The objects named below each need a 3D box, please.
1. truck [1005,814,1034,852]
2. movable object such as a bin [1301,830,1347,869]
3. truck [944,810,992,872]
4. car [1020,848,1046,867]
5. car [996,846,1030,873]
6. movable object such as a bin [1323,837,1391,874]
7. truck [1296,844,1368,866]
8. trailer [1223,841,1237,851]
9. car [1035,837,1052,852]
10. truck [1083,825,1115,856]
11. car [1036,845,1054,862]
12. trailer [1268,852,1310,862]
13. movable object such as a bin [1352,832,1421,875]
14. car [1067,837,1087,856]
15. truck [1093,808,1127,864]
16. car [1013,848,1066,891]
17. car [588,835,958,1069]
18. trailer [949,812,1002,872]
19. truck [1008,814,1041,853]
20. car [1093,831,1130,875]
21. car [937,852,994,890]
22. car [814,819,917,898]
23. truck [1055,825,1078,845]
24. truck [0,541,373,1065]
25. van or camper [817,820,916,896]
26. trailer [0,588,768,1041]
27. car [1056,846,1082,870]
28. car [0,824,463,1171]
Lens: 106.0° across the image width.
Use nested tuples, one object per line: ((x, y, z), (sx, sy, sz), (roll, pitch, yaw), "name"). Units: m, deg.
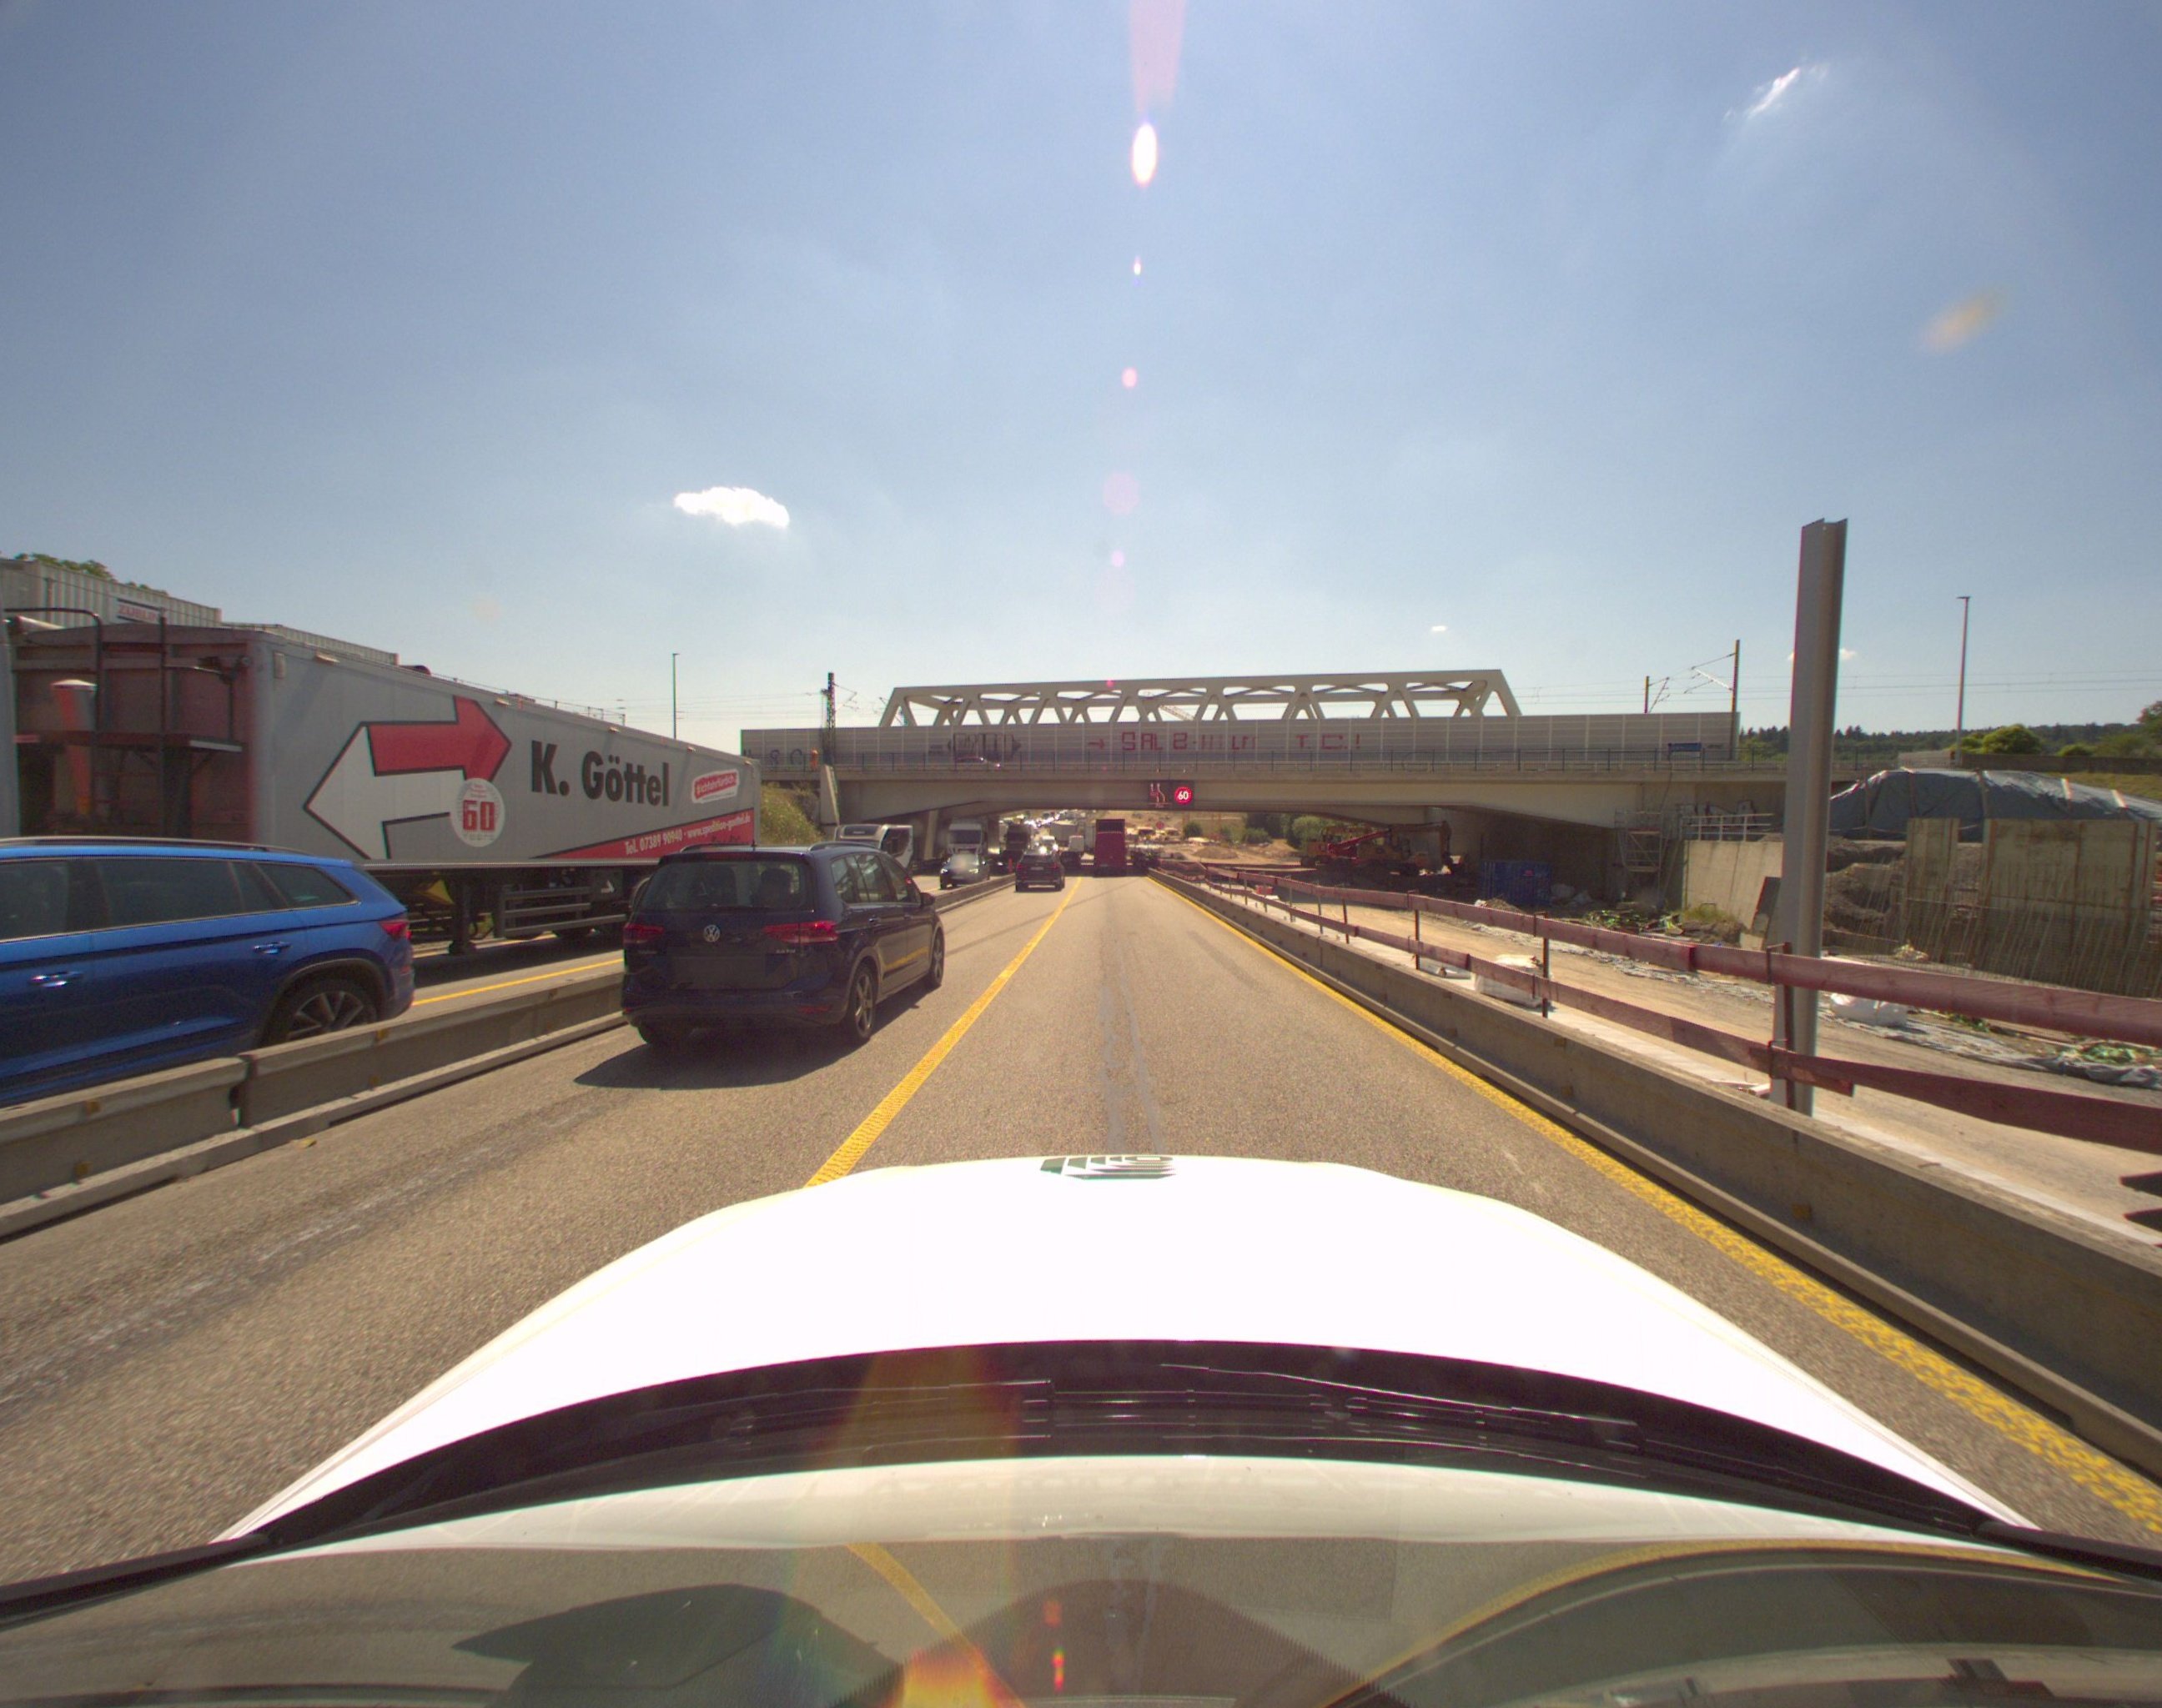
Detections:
((-6.927, -2.330, 92.427), (2.649, 4.171, 5.189), (0, -1, 2), "truck")
((22.768, -0.387, 76.532), (3.855, 3.542, 2.913), (1, -1, 12), "movable object such as a bin")
((-7.844, -0.845, 57.054), (2.789, 4.150, 4.073), (0, -1, 0), "truck")
((-4.073, 0.321, 70.358), (1.848, 1.527, 4.774), (0, -1, 1), "car")
((-4.580, 0.347, 55.311), (1.848, 1.756, 4.610), (0, 0, 1), "car")
((24.487, 0.131, 72.408), (5.214, 3.056, 2.500), (1, -1, 5), "movable object such as a bin")
((25.187, 0.121, 81.809), (6.491, 2.073, 2.669), (1, 1, 4), "truck")
((24.994, -1.364, 136.830), (1.619, 1.486, 3.824), (0, 1, -2), "trailer")
((-5.689, -1.437, 123.553), (1.979, 2.330, 6.042), (0, 1, -8), "car")
((2.390, -1.910, 112.320), (3.182, 3.988, 6.720), (-1, 3, -10), "truck")
((-4.084, -0.059, 92.626), (1.794, 1.932, 4.967), (0, 1, 0), "car")
((25.672, 0.363, 100.483), (4.696, 1.219, 2.056), (0, -1, 1), "trailer")
((24.390, -0.033, 65.142), (4.531, 3.287, 2.995), (1, -1, 5), "movable object such as a bin")
((-0.531, -1.037, 111.345), (2.261, 2.354, 5.151), (0, 3, -6), "car")
((2.704, -1.769, 74.747), (2.933, 4.944, 6.747), (0, 3, 2), "truck")
((-1.650, 0.599, 33.663), (1.827, 1.635, 4.390), (0, 0, 1), "car")
((-2.505, 0.686, 7.923), (1.727, 1.635, 4.393), (0, 0, 3), "car")
((-7.824, -0.813, 61.241), (2.803, 4.174, 8.243), (0, -1, 0), "trailer")
((-6.765, -2.321, 99.212), (2.759, 4.313, 13.494), (0, -1, 2), "truck")
((1.869, -0.034, 50.415), (2.142, 2.611, 5.441), (0, -1, 2), "car")
((-5.029, 0.704, 36.071), (1.747, 1.517, 4.189), (0, 1, 2), "car")
((-8.384, 0.194, 32.444), (2.267, 2.821, 6.558), (0, -1, 1), "car")
((-2.691, -3.409, 149.592), (3.217, 3.360, 8.916), (0, -1, -8), "truck")
((-9.168, -0.366, 6.265), (2.575, 3.828, 5.383), (0, -1, 2), "truck")
((-8.355, 0.137, 32.504), (2.116, 2.705, 6.456), (-1, 0, 1), "van or camper")
((-8.778, -0.284, 12.802), (2.645, 3.816, 11.828), (0, -1, 3), "trailer")
((-0.889, 0.321, 63.820), (1.827, 1.777, 4.391), (0, 0, 2), "car")
((-6.067, 0.693, 4.310), (1.826, 1.664, 4.688), (0, 0, 3), "car")
